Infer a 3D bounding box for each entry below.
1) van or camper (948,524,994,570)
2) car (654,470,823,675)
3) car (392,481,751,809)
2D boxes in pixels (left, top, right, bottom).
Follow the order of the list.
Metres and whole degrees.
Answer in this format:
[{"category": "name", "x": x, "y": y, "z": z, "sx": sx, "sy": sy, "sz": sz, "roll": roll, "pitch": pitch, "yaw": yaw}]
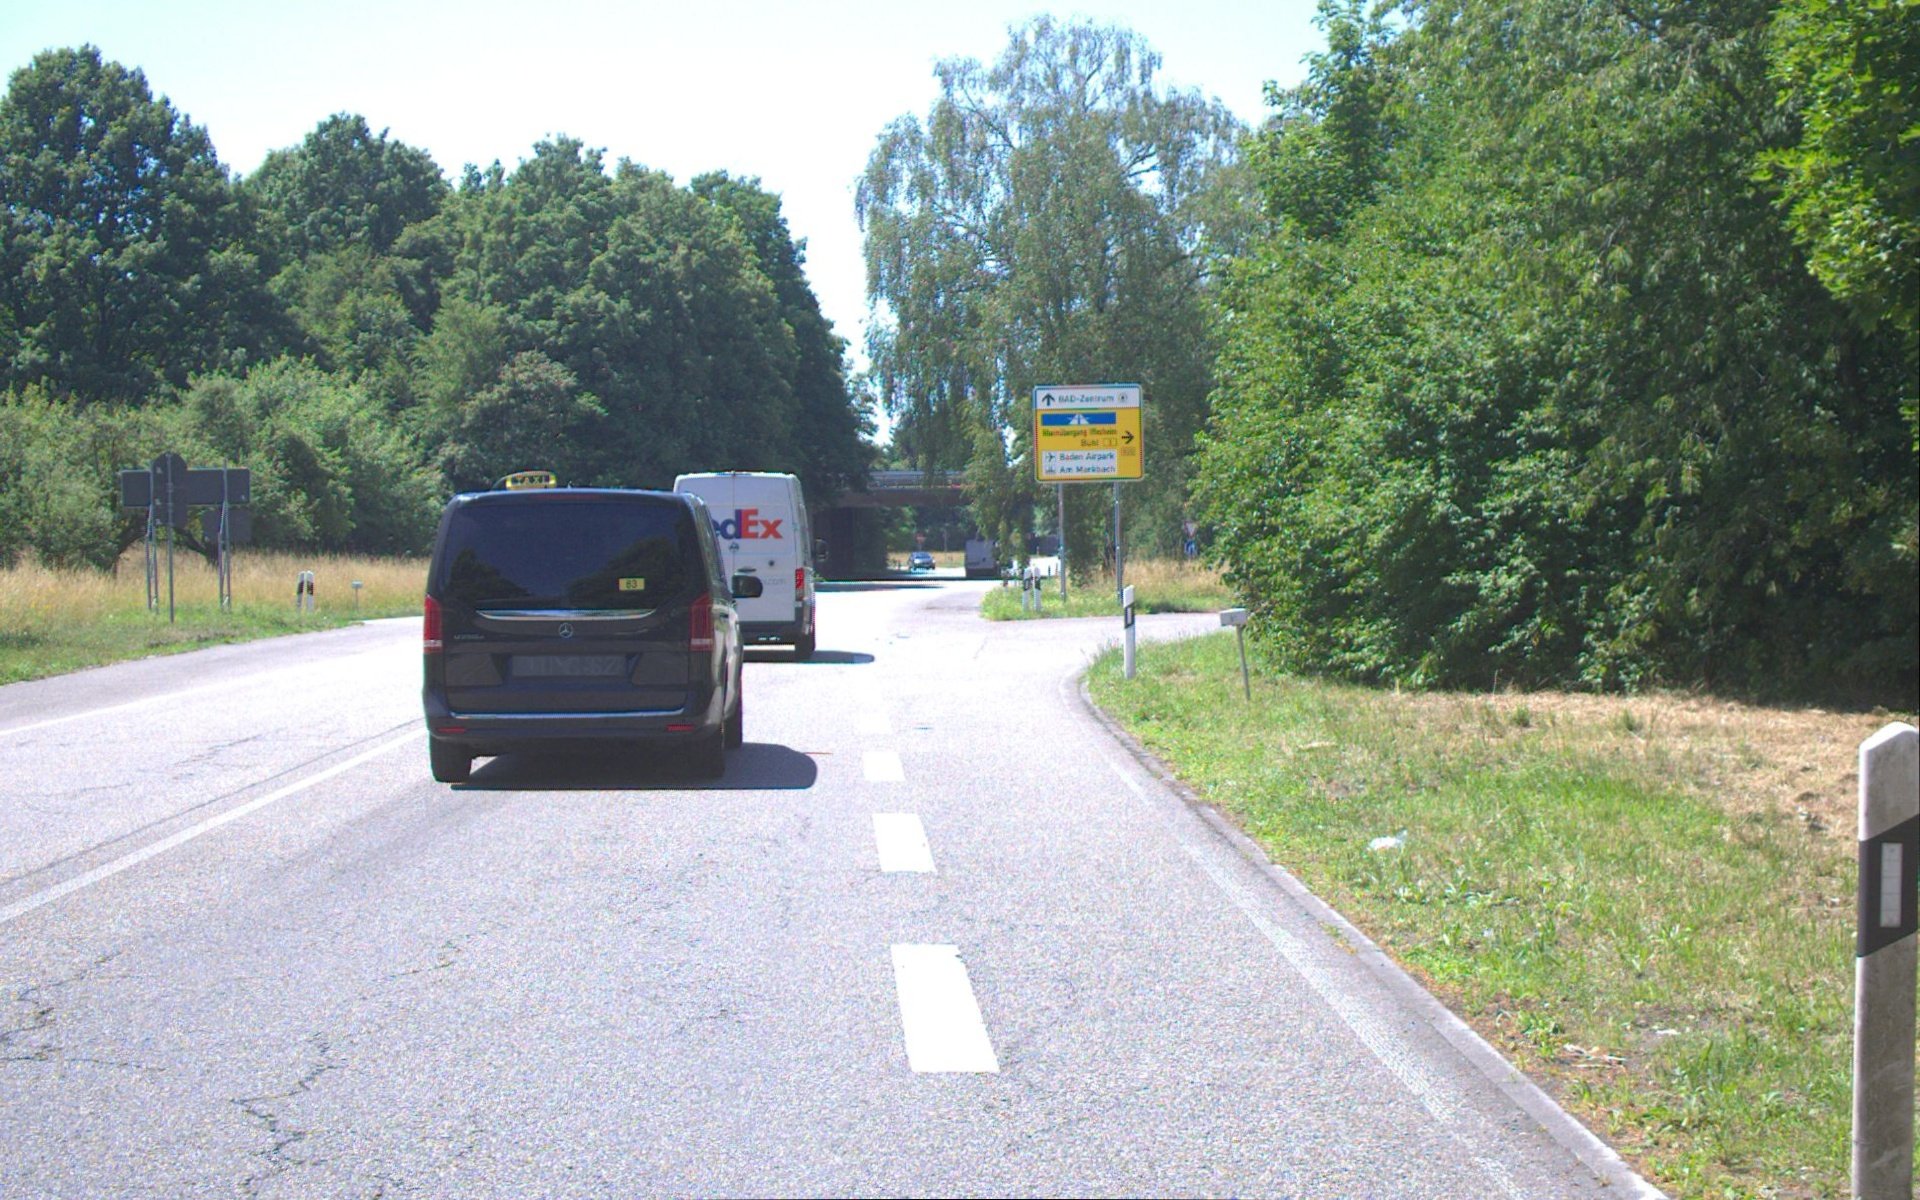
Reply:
[{"category": "van or camper", "x": 0.674, "y": -3.360, "z": 218.959, "sx": 2.631, "sy": 2.919, "sz": 5.207, "roll": 1, "pitch": 1, "yaw": -3}, {"category": "car", "x": -3.043, "y": -0.394, "z": 48.182, "sx": 2.078, "sy": 2.693, "sz": 4.666, "roll": 1, "pitch": 1, "yaw": -1}, {"category": "car", "x": -2.499, "y": 0.240, "z": 23.285, "sx": 1.993, "sy": 1.946, "sz": 5.005, "roll": 1, "pitch": 1, "yaw": -2}]
